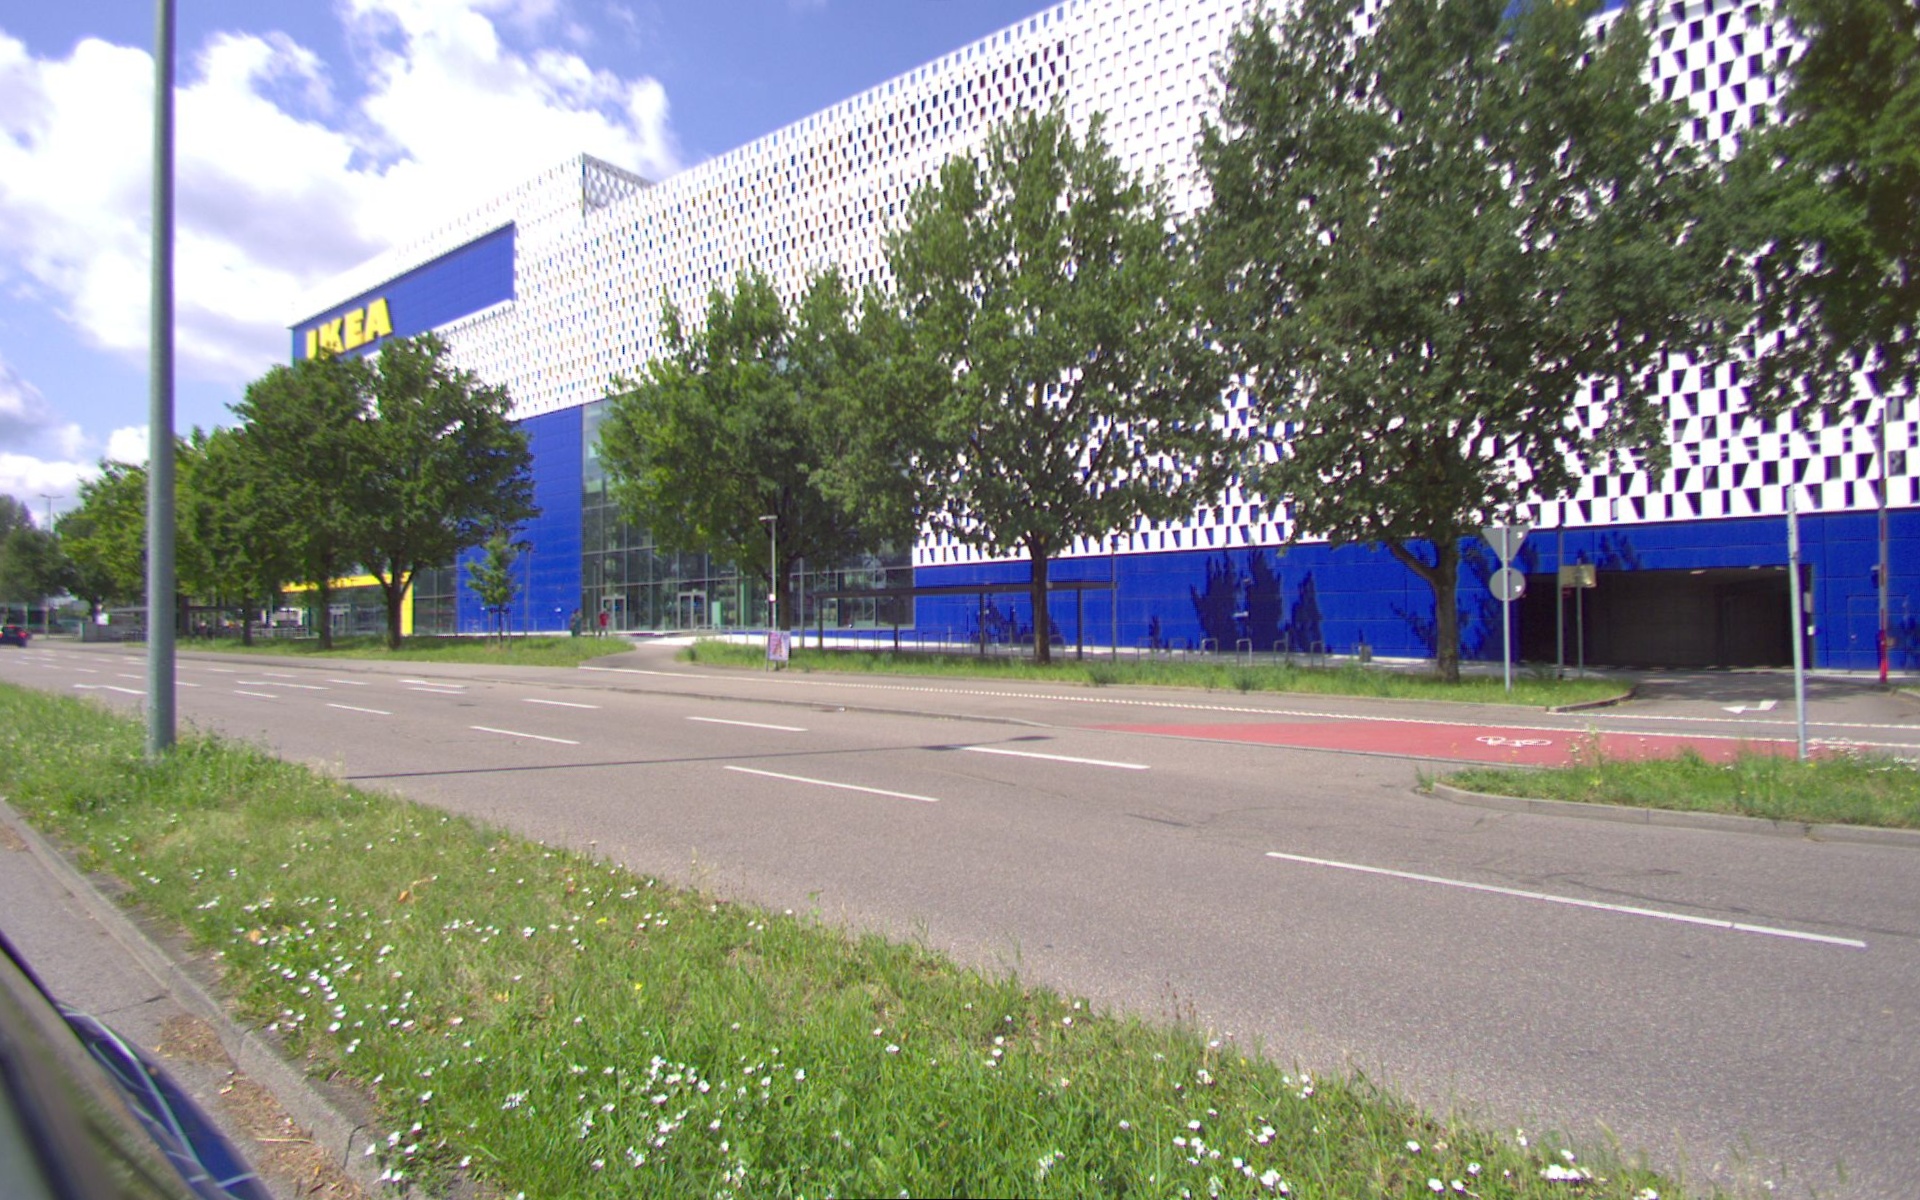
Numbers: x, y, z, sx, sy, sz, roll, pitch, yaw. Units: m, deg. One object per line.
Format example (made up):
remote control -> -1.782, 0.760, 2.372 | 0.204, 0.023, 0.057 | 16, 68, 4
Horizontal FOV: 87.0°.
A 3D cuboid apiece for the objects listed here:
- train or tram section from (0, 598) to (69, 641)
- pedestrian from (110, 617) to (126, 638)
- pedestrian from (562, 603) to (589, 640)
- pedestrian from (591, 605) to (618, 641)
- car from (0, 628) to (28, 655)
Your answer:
train or tram section -> -107.558, 2.204, 112.102 | 3.727, 4.708, 12.938 | -1, 0, 38
pedestrian -> -86.773, 2.788, 104.264 | 0.807, 2.110, 1.041 | -1, 0, -8
pedestrian -> -18.868, 1.045, 49.658 | 1.165, 1.741, 0.842 | -1, 0, 43
pedestrian -> -17.762, 1.150, 50.598 | 1.165, 1.741, 0.842 | -1, 0, 43
car -> -66.763, 2.888, 70.744 | 3.998, 1.696, 1.916 | -1, 0, 41
